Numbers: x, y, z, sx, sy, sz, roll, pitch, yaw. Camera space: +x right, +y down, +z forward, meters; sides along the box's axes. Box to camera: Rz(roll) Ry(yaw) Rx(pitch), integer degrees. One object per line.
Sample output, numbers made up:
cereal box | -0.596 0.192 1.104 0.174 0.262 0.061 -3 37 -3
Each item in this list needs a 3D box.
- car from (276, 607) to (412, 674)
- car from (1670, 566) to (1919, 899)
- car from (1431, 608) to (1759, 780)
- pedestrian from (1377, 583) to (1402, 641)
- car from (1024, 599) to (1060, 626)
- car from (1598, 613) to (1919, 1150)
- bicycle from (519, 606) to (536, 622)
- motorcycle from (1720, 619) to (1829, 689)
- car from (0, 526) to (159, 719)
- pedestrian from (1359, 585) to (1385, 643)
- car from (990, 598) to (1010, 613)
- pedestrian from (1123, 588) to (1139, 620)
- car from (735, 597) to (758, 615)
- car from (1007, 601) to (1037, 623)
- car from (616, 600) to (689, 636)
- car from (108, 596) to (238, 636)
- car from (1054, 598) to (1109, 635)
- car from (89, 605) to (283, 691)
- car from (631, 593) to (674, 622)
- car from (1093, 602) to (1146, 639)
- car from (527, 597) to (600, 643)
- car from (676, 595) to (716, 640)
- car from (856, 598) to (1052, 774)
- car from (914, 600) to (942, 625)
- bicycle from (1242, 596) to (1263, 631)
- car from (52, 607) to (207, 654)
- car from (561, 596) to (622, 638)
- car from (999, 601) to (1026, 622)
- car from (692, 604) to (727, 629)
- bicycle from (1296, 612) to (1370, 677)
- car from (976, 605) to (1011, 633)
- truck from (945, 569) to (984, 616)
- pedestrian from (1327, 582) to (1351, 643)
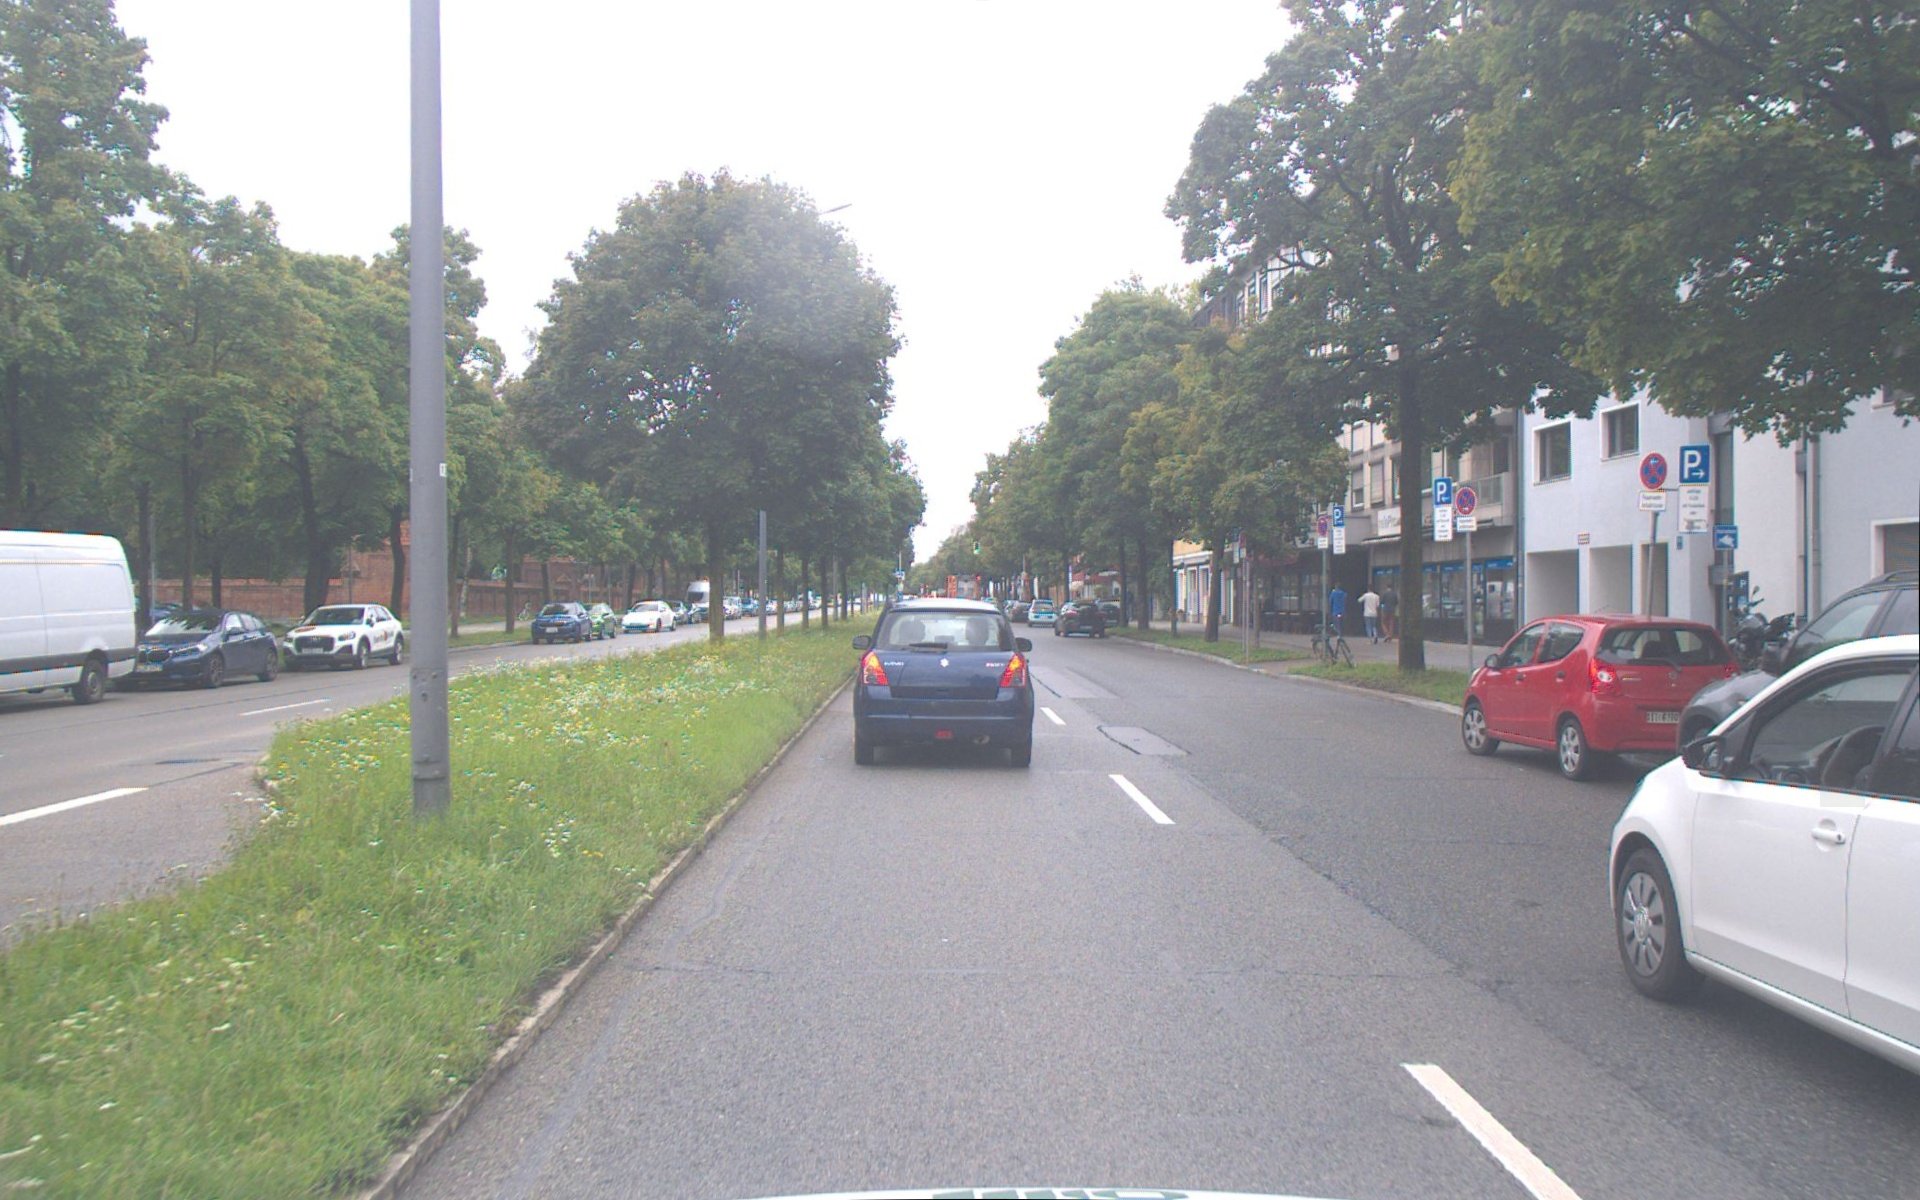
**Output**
car | -14.645 0.940 39.547 1.820 1.517 4.140 0 -1 -2
car | 6.011 0.708 9.616 1.792 1.776 4.507 0 0 -1
car | 6.123 0.827 16.438 1.491 1.466 3.997 0 0 -4
pedestrian | 12.580 0.344 48.435 0.530 1.669 0.724 0 0 -1
car | 4.653 0.709 94.089 1.621 1.477 3.997 0 0 -4
car | 3.556 0.817 5.189 1.653 1.516 3.433 0 0 -3
bicycle | -24.864 0.801 95.116 0.642 0.953 1.618 0 0 -4
motorcycle | 13.913 0.897 28.317 0.746 1.105 2.199 -1 0 -1
car | -14.429 0.326 24.087 2.096 2.690 7.104 -2 0 -1
pedestrian | 11.964 0.413 48.026 0.538 1.658 0.641 -2 0 -1
car | 4.228 0.576 176.773 1.953 1.557 3.999 0 0 -1
pedestrian | 10.168 0.220 98.601 0.776 1.888 0.776 -2 0 -4
car | -19.032 0.557 147.558 1.672 1.561 3.999 0 0 -1
car | 4.128 0.794 110.653 1.621 1.477 4.705 0 0 -3
car | -15.174 0.883 81.841 1.724 1.564 4.318 -3 0 16
car | -28.661 0.579 60.321 3.896 1.416 1.759 0 0 -1
car | 5.096 0.678 69.563 1.953 1.477 3.999 0 0 -1
car | -14.618 0.886 31.497 1.820 1.517 4.249 0 -1 -2
car | -17.431 0.403 93.867 1.777 1.563 4.296 1 0 -2
car | 7.398 0.920 77.045 1.953 1.671 4.332 0 0 -1
car | -14.931 0.724 62.519 1.849 1.564 4.312 -3 0 -3
car | -18.489 1.184 115.920 2.142 3.005 6.187 1 0 -4
car | -0.065 0.753 16.515 1.717 1.531 3.999 0 0 -1
car | -2.054 0.764 105.692 1.684 1.527 4.299 0 0 -1
bicycle | 12.463 0.573 70.586 0.568 1.489 1.688 0 0 -1
car | -28.350 1.036 56.534 4.261 1.531 1.999 0 0 -2
car | -15.116 0.675 68.040 1.605 1.564 4.313 -3 0 -1
car | 3.850 0.830 121.391 1.621 1.477 3.997 0 0 -4
car | -18.523 1.233 122.608 2.142 1.767 4.574 1 0 -4
bicycle | 7.709 0.899 34.289 0.447 1.278 2.138 0 0 -19
car | 1.891 1.059 95.008 1.785 1.503 4.689 2 0 -1
truck | 0.296 -0.582 133.517 2.979 3.619 13.672 0 0 0
pedestrian | 10.989 0.355 47.971 0.489 1.763 0.732 0 0 -1
